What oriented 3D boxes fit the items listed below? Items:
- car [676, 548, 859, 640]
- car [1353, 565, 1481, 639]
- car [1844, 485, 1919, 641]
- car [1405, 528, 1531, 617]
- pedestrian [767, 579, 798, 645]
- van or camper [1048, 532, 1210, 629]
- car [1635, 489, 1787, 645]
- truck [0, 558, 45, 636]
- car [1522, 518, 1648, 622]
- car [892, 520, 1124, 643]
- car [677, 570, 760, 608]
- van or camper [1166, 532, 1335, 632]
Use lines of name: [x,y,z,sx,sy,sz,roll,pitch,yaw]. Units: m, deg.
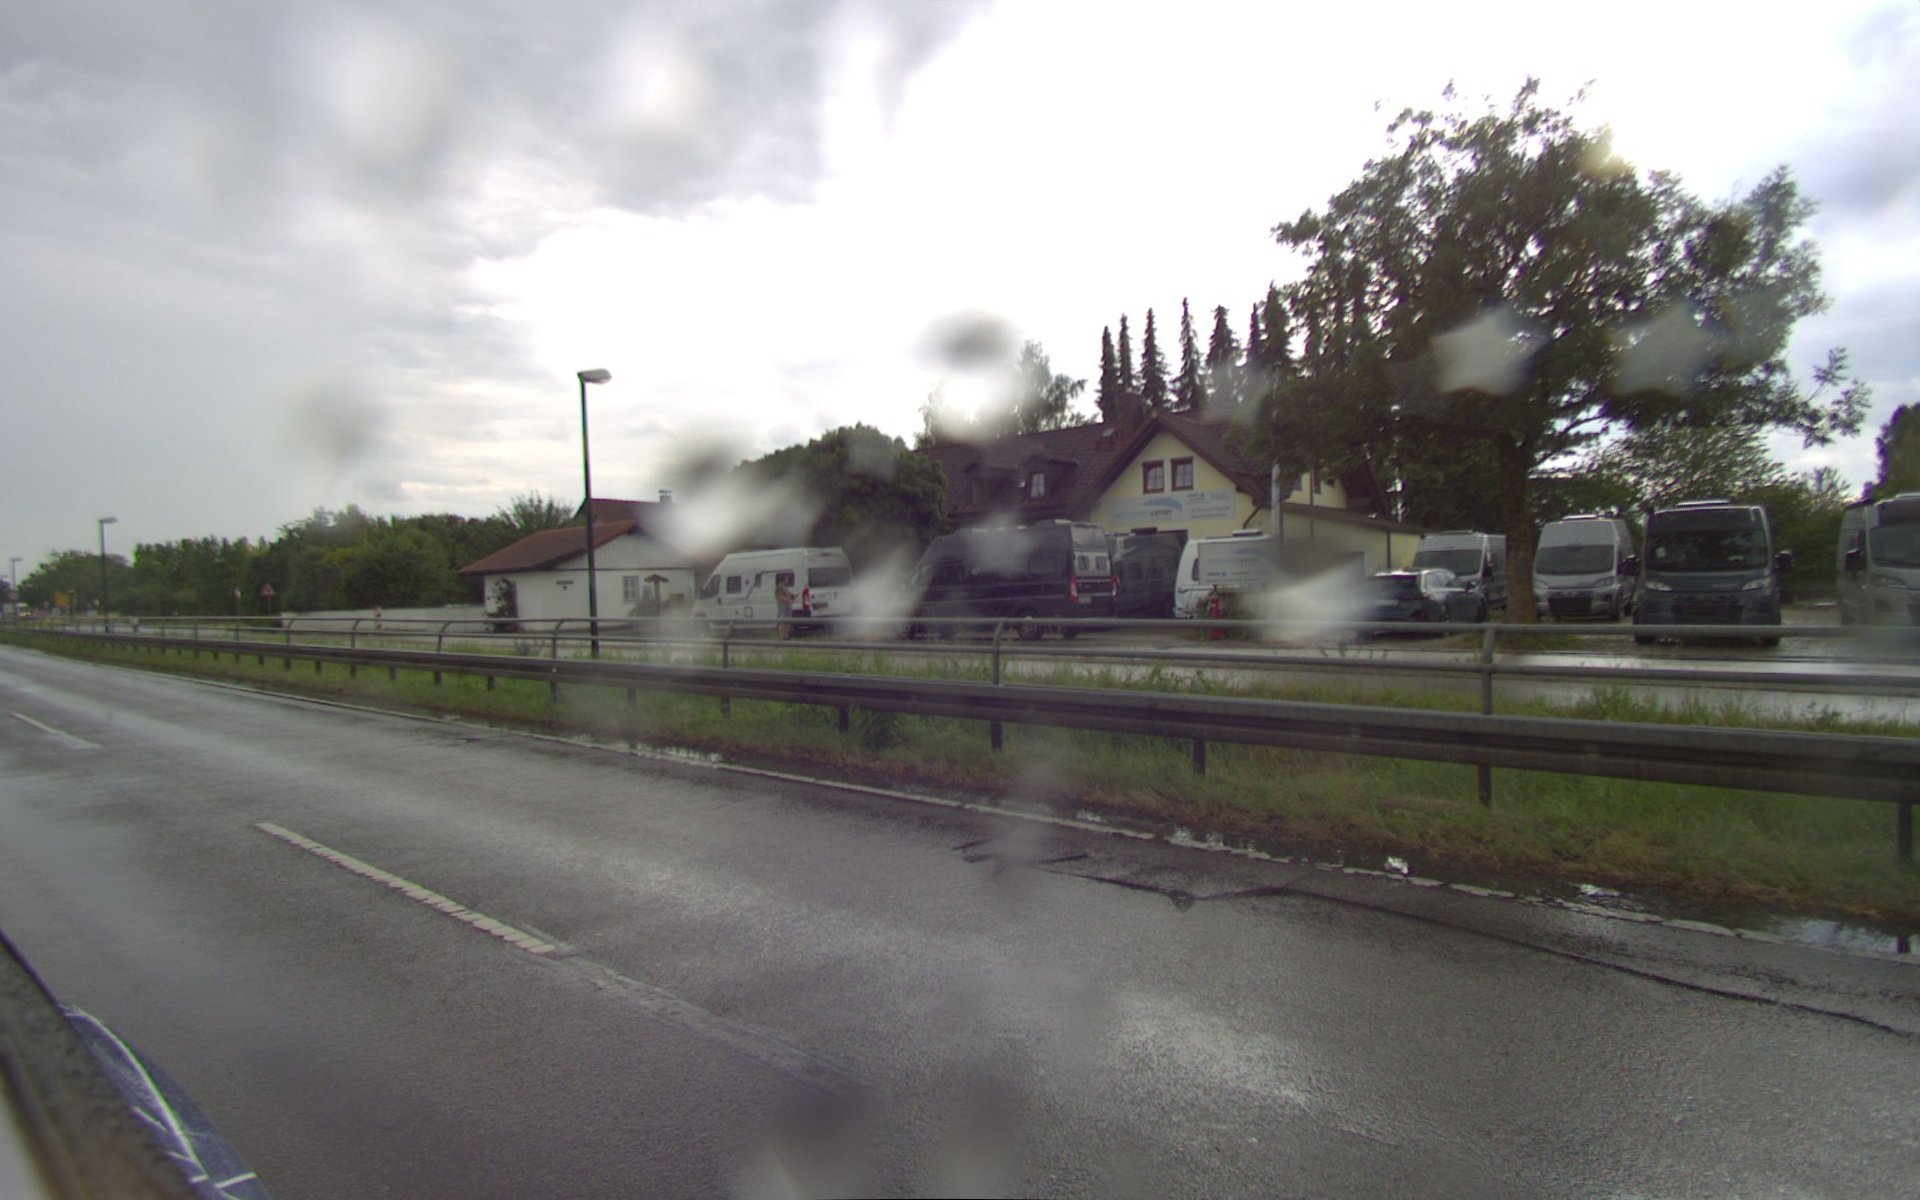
car: [-6.062,-0.160,31.328,6.015,2.600,2.214,-1,1,41]
car: [10.439,0.001,22.981,1.540,1.507,3.843,-1,1,42]
car: [17.114,-0.679,17.782,1.997,2.477,5.045,-1,1,37]
car: [15.645,-0.849,30.951,2.089,2.435,6.031,-1,1,40]
pedestrian: [-4.697,0.310,26.777,0.509,1.723,0.651,-2,1,-42]
van or camper: [5.533,-0.650,32.337,2.431,2.822,5.995,-1,1,38]
car: [14.087,-0.610,19.008,1.997,2.520,5.135,-1,1,37]
truck: [-65.363,-0.139,69.171,7.781,5.071,3.214,-1,1,42]
car: [17.312,-0.820,27.853,2.089,2.557,6.031,-1,1,40]
car: [1.117,-0.411,25.686,5.569,2.783,2.359,-1,1,41]
car: [-9.265,-0.407,38.667,3.269,1.366,1.434,-1,1,41]
van or camper: [8.660,-0.552,29.665,2.559,2.611,6.163,-1,1,38]
